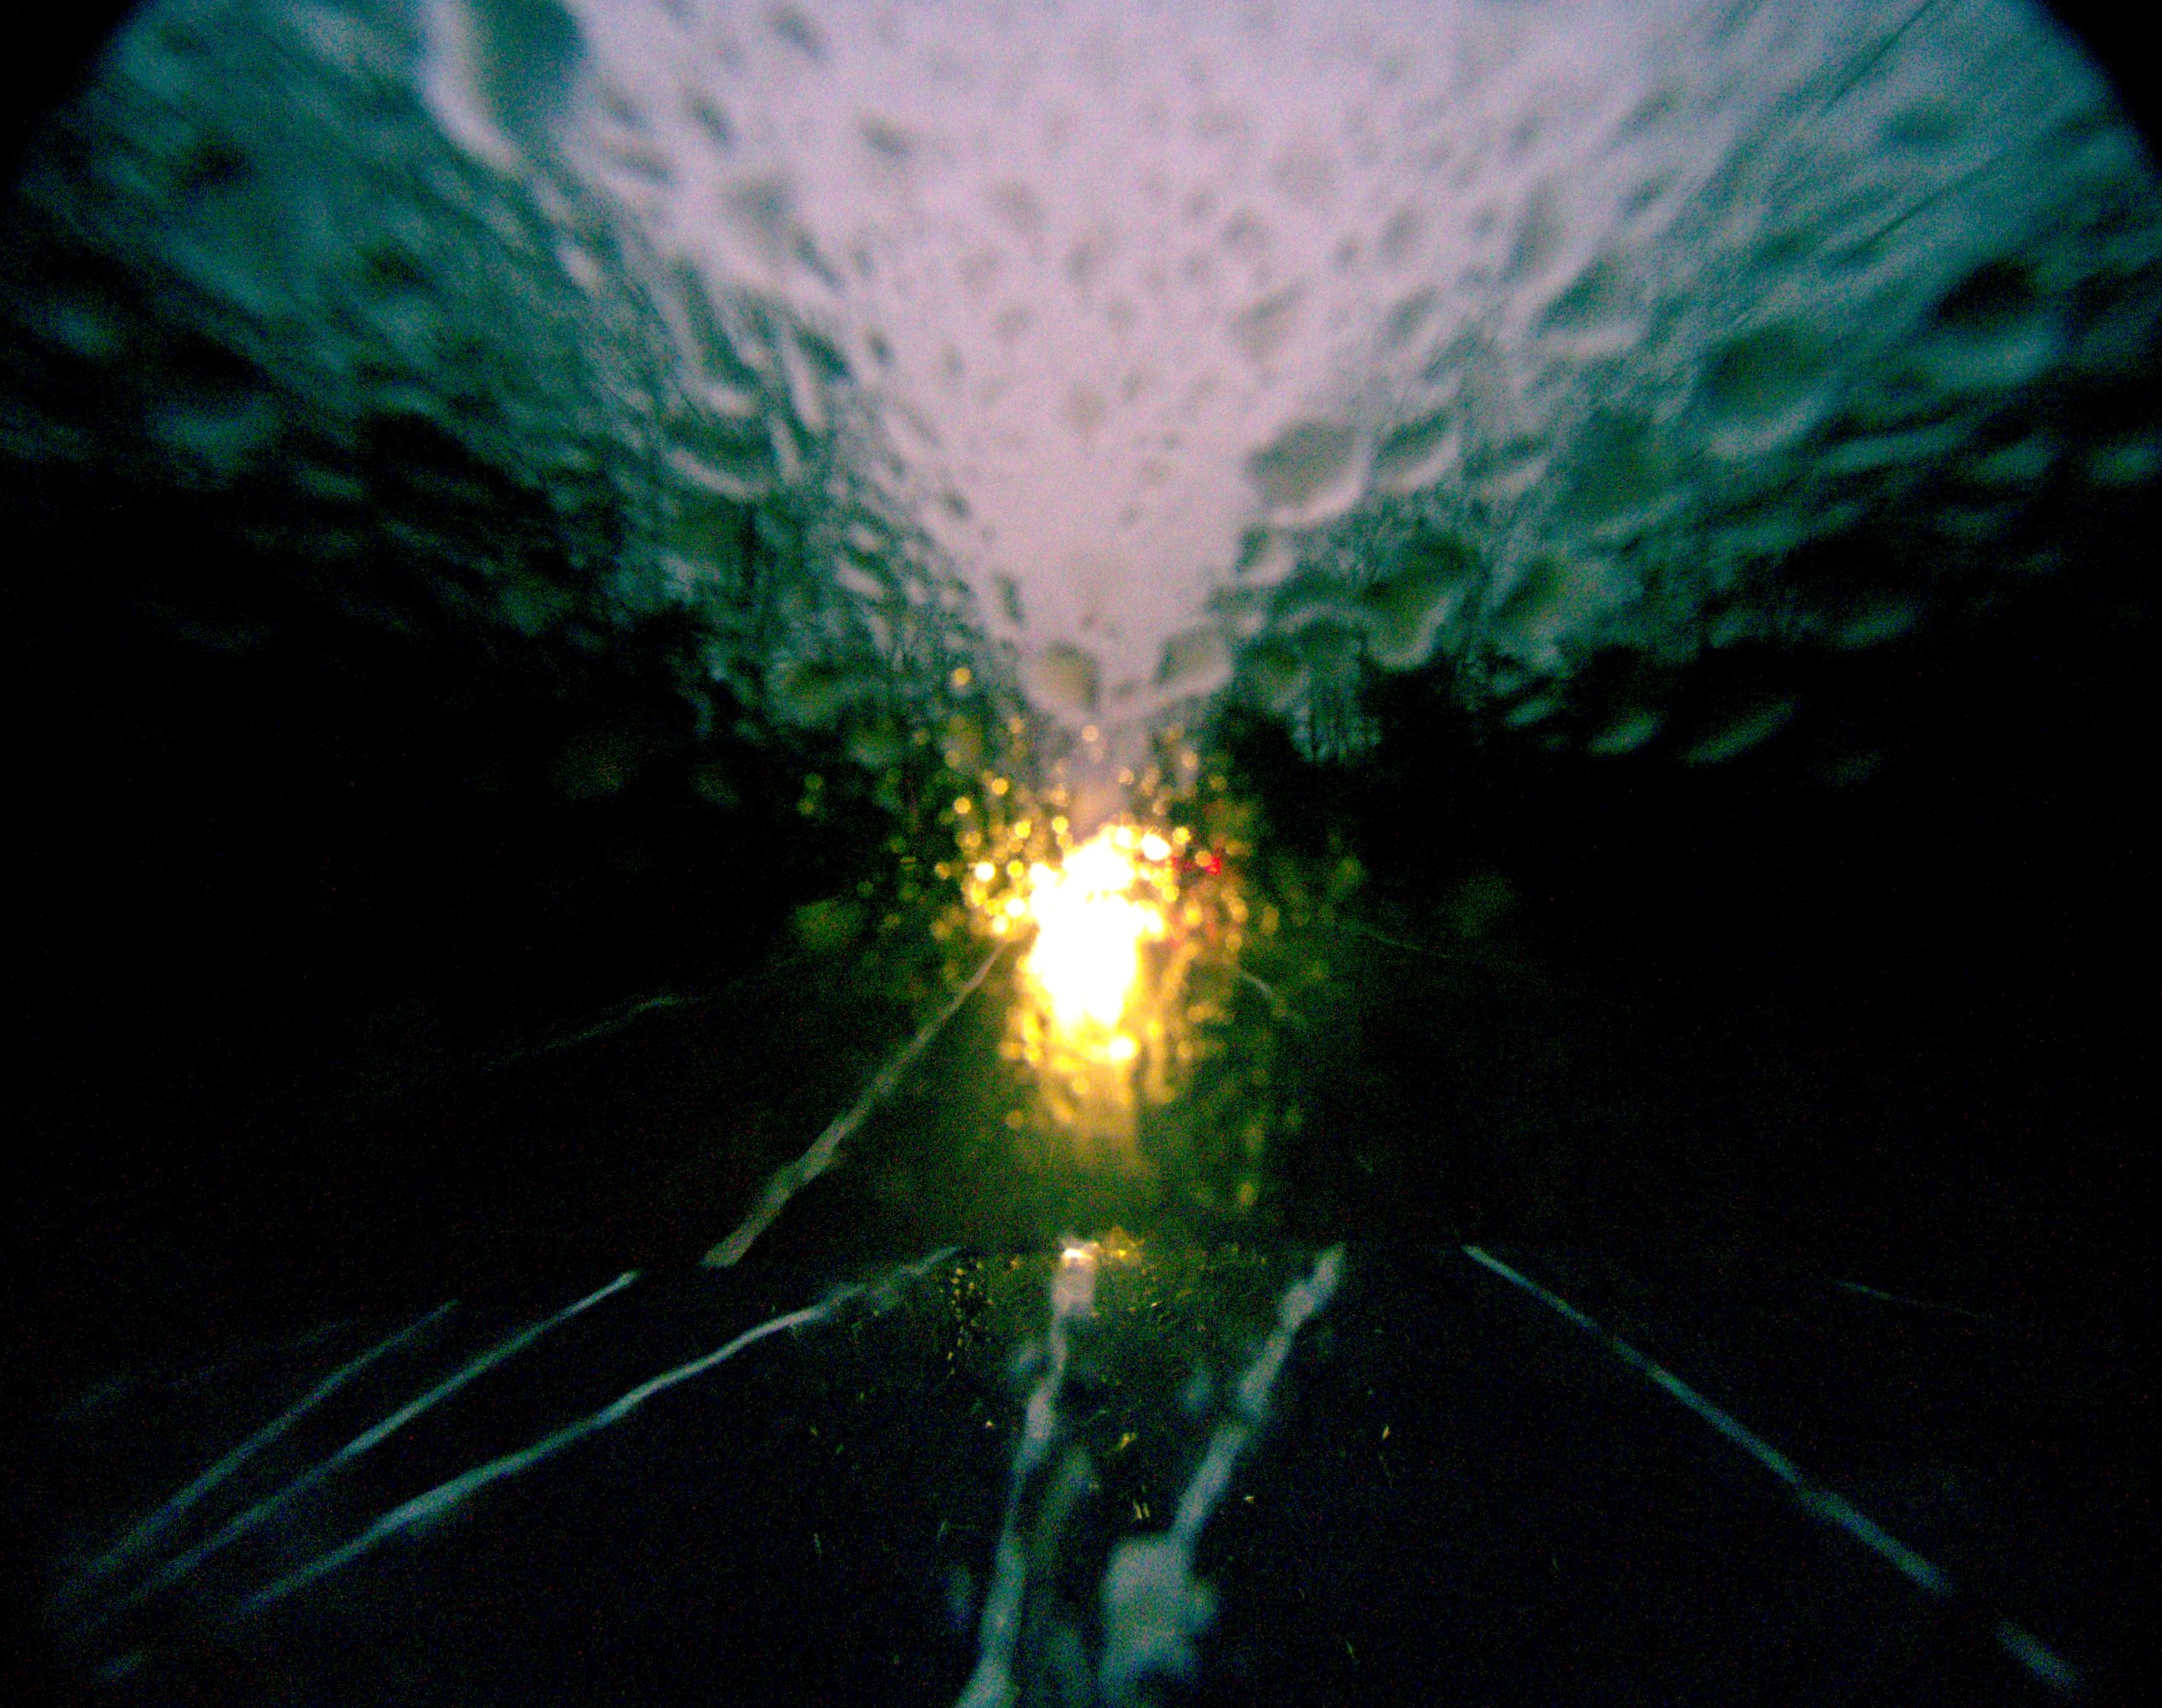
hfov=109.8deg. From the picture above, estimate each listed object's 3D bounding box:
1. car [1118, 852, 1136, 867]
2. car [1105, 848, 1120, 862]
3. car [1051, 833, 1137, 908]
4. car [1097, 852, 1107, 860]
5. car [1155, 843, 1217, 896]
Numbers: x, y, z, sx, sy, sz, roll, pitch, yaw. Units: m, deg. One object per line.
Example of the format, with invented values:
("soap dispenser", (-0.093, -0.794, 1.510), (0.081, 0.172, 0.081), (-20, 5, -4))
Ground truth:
("car", (4.842, 0.559, 80.023), (1.758, 1.449, 3.637), (1, 0, 1))
("car", (4.647, 0.090, 114.033), (2.012, 1.977, 5.031), (1, 0, 0))
("car", (0.460, 0.500, 26.254), (2.542, 2.213, 6.169), (-2, 0, 1))
("car", (4.678, 0.463, 168.508), (2.080, 1.607, 4.152), (0, 1, 2))
("car", (3.950, 0.543, 29.292), (1.801, 1.870, 4.425), (0, 0, 1))
